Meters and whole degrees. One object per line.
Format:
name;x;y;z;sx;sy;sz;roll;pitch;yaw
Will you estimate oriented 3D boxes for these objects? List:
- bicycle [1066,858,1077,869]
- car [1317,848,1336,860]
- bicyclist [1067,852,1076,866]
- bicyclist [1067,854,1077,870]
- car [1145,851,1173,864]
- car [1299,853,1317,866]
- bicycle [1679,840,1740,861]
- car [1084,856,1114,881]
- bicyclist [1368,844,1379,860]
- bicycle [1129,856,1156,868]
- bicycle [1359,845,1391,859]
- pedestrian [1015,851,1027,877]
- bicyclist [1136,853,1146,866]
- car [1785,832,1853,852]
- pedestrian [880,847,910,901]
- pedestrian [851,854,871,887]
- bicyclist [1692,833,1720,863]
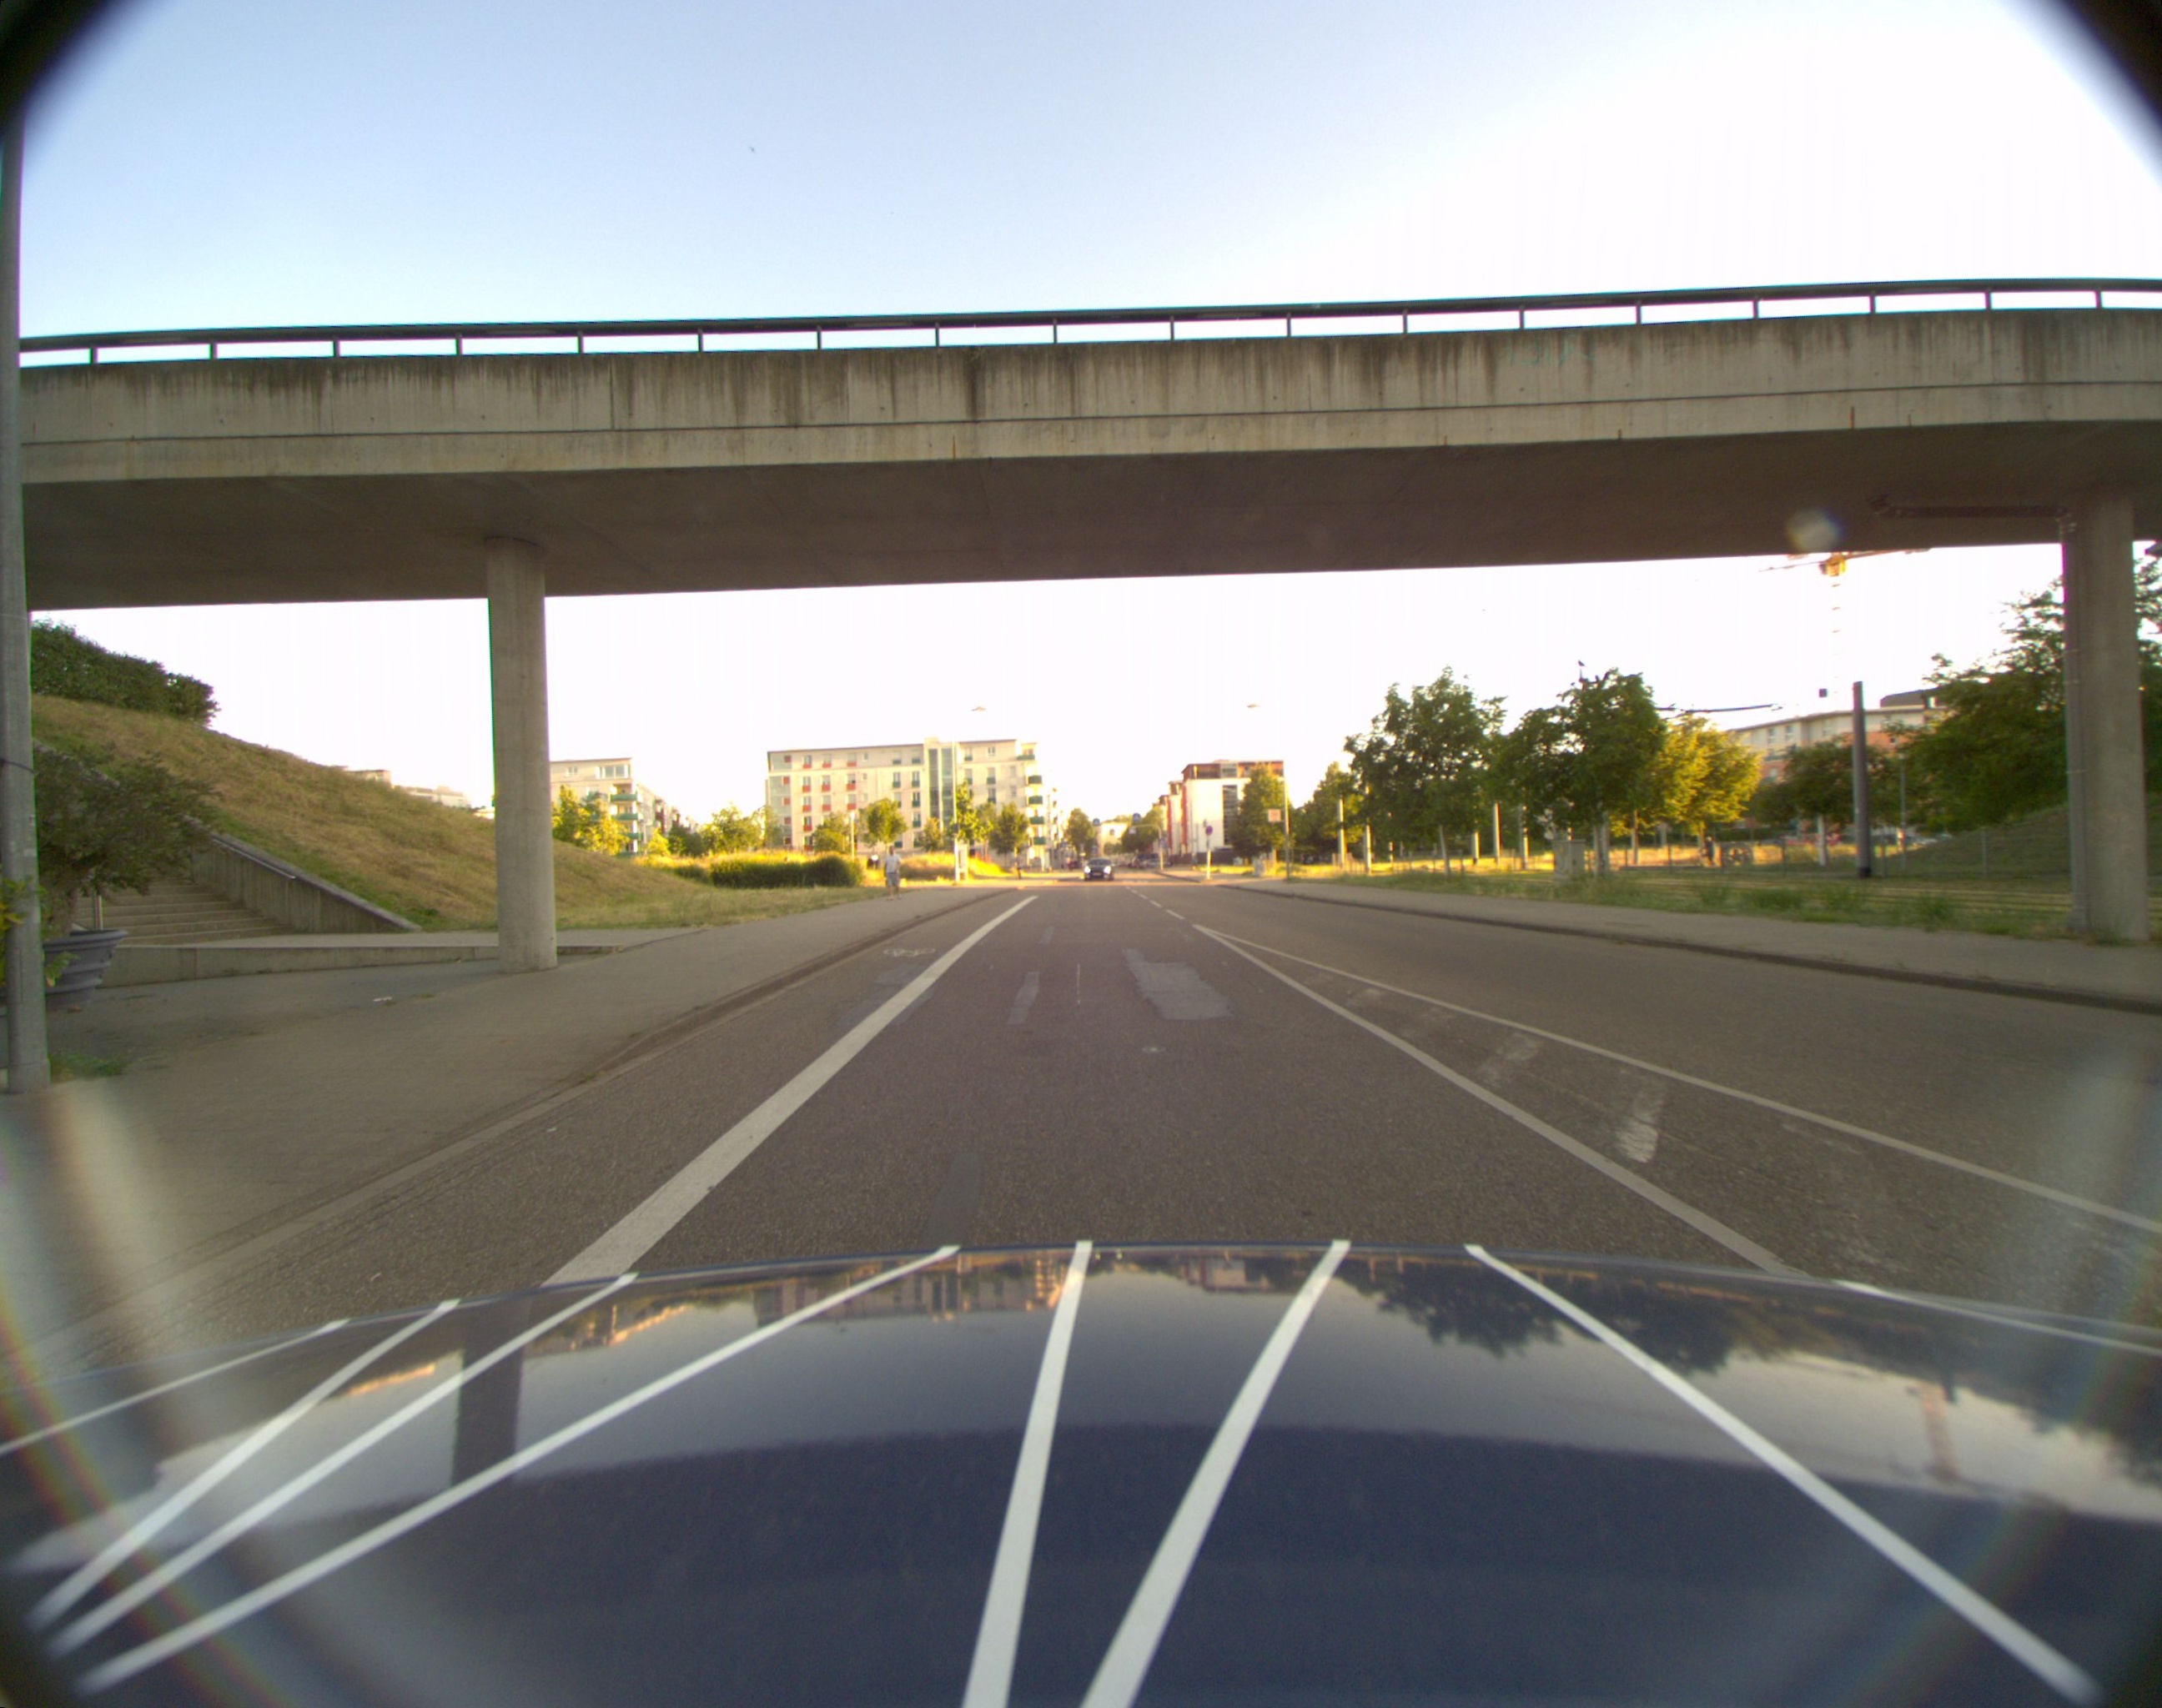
bicycle;-0.979;0.947;77.348;0.900;1.142;3.497;-2;0;-3
car;31.223;-0.009;96.751;1.942;1.521;4.004;-2;0;14
bicyclist;-1.146;0.593;89.527;0.698;1.630;0.850;-2;0;-21
bicyclist;-0.909;0.806;77.342;0.932;1.585;1.067;-2;0;-5
car;11.634;0.544;113.826;3.996;1.718;2.000;-2;0;2
car;29.021;0.679;97.220;1.942;1.521;4.004;-2;0;14
bicycle;34.371;-0.193;41.568;2.842;1.002;0.655;-2;0;-3
car;1.139;0.862;47.888;1.739;1.455;4.000;-2;0;1
bicyclist;34.222;-0.222;88.920;1.033;1.865;0.883;-1;1;0
bicycle;7.935;1.048;98.421;3.533;1.560;1.020;-2;0;40
bicycle;34.366;-0.249;88.926;3.319;1.483;0.887;-2;0;0
pedestrian;-3.893;0.646;49.178;0.737;1.714;0.532;0;0;1
bicyclist;7.789;0.745;98.636;0.860;1.653;0.917;-2;1;-42
car;83.257;-1.299;85.771;5.520;2.002;2.001;-2;0;5
pedestrian;-6.000;0.640;24.517;0.737;1.714;0.906;0;0;1
pedestrian;-10.841;0.812;37.449;0.737;1.620;0.859;0;0;2
bicyclist;34.348;-0.343;41.734;0.910;1.622;0.717;-2;0;-6
